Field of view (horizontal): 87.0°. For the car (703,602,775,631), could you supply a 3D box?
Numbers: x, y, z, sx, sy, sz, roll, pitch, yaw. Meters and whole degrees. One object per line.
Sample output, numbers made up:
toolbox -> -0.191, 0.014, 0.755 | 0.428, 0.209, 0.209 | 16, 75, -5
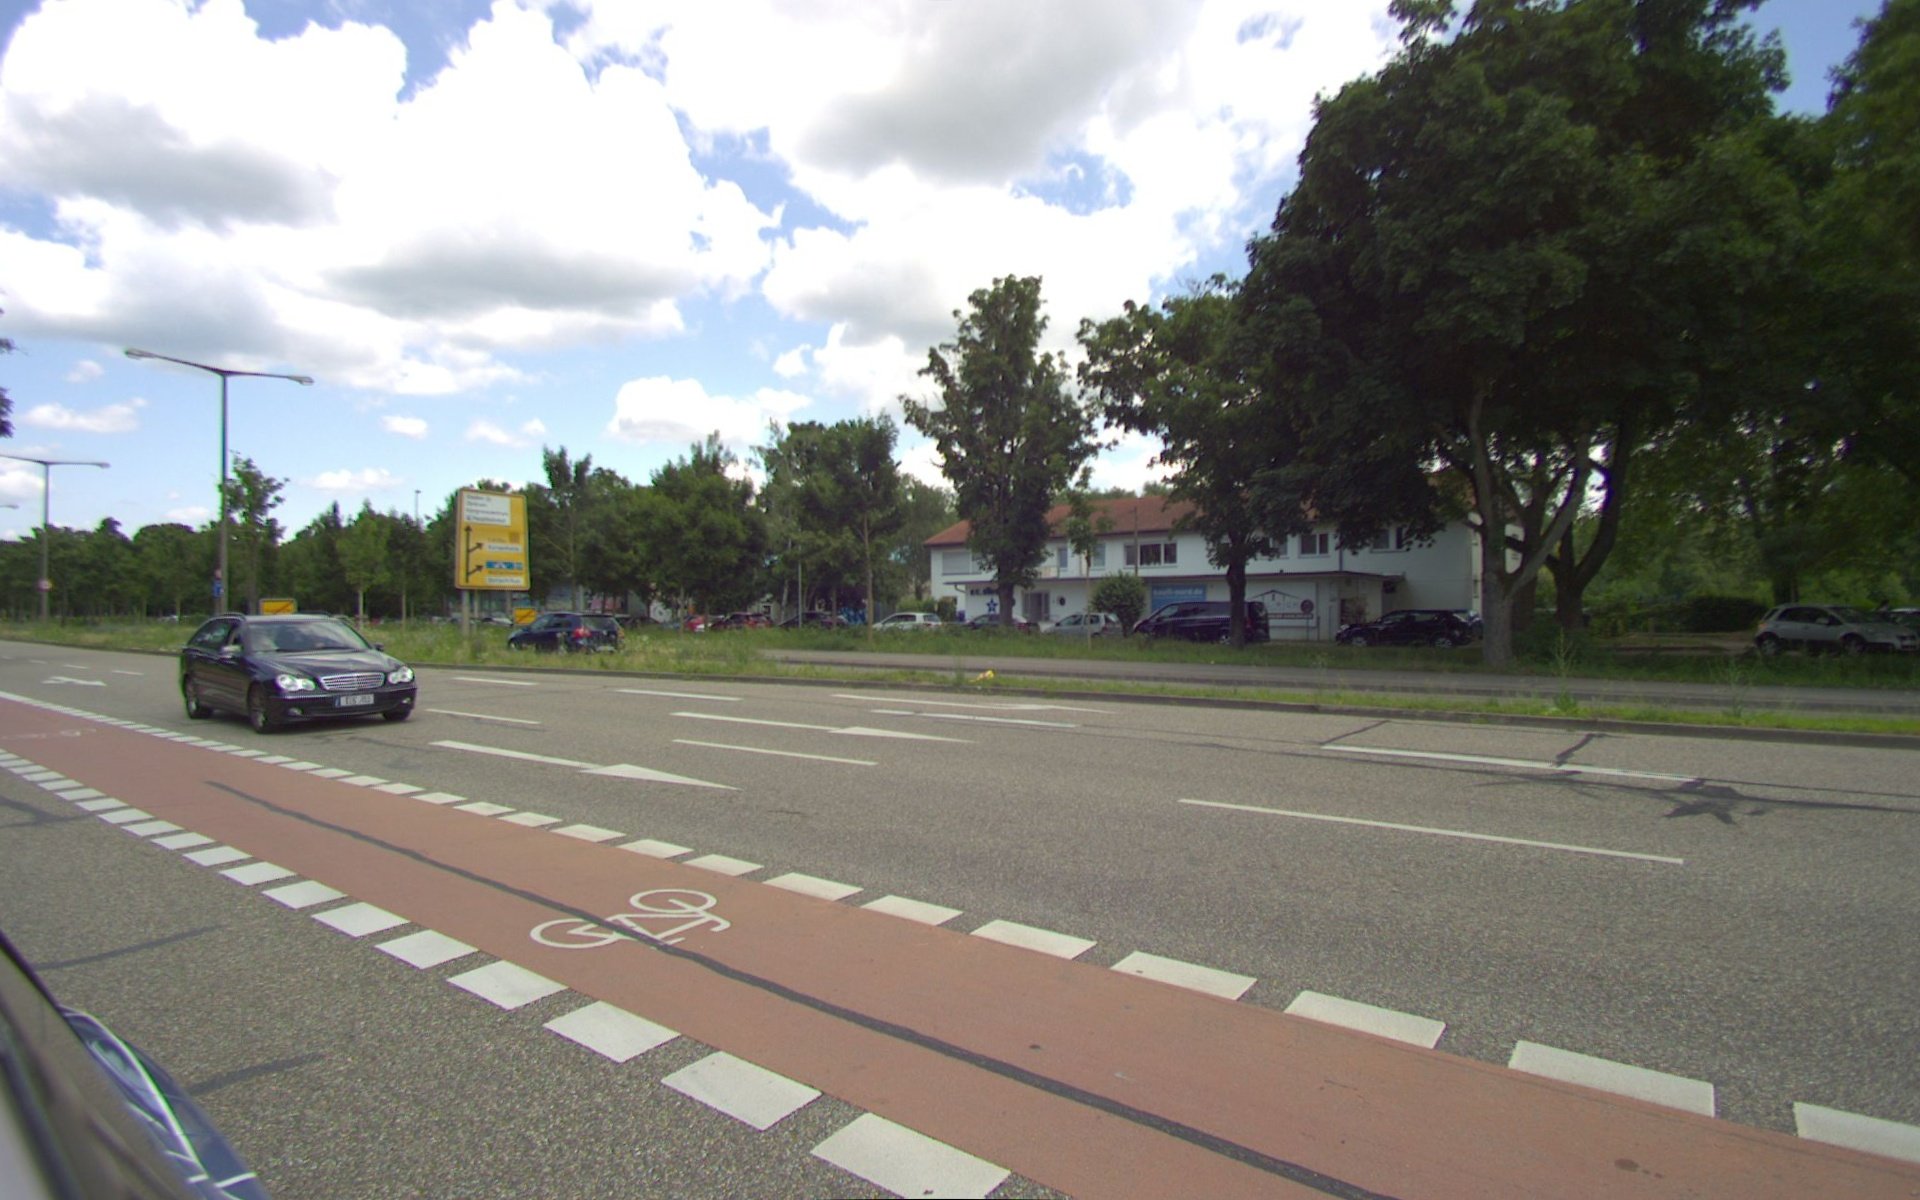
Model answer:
car -> -12.464, 0.935, 57.050 | 4.021, 1.600, 1.973 | -1, -2, 41

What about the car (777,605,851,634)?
car -> -7.647, 1.023, 52.879 | 3.864, 1.422, 1.707 | -1, -2, 41

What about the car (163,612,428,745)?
car -> -9.019, 0.919, 13.585 | 4.429, 1.477, 1.737 | -1, 0, 39

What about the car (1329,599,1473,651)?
car -> 15.055, 0.830, 34.627 | 4.347, 1.670, 1.794 | -1, 0, 30

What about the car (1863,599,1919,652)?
car -> 30.042, 0.745, 30.286 | 1.966, 1.600, 4.033 | 0, -3, -14

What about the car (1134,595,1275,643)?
car -> 9.253, 0.748, 38.560 | 4.927, 1.724, 1.863 | -1, -2, 41

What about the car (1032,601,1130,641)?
car -> 5.073, 0.877, 42.523 | 3.664, 1.600, 1.896 | -1, -2, 41

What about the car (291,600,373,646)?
car -> -29.046, 1.049, 46.811 | 3.994, 2.029, 1.974 | -1, -2, 38

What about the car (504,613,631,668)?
car -> -11.084, 1.111, 28.504 | 3.687, 1.457, 1.666 | -1, -2, 38

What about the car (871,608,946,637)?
car -> -2.504, 1.097, 48.584 | 3.475, 1.342, 1.604 | -1, -2, 41

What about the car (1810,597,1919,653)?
car -> 27.758, 0.728, 29.573 | 1.966, 1.600, 4.033 | 0, -1, -14

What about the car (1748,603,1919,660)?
car -> 25.270, 0.878, 28.854 | 1.966, 1.495, 4.033 | 0, -1, -14

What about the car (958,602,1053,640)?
car -> 1.989, 0.948, 45.075 | 4.021, 1.600, 1.740 | -1, -2, 41
